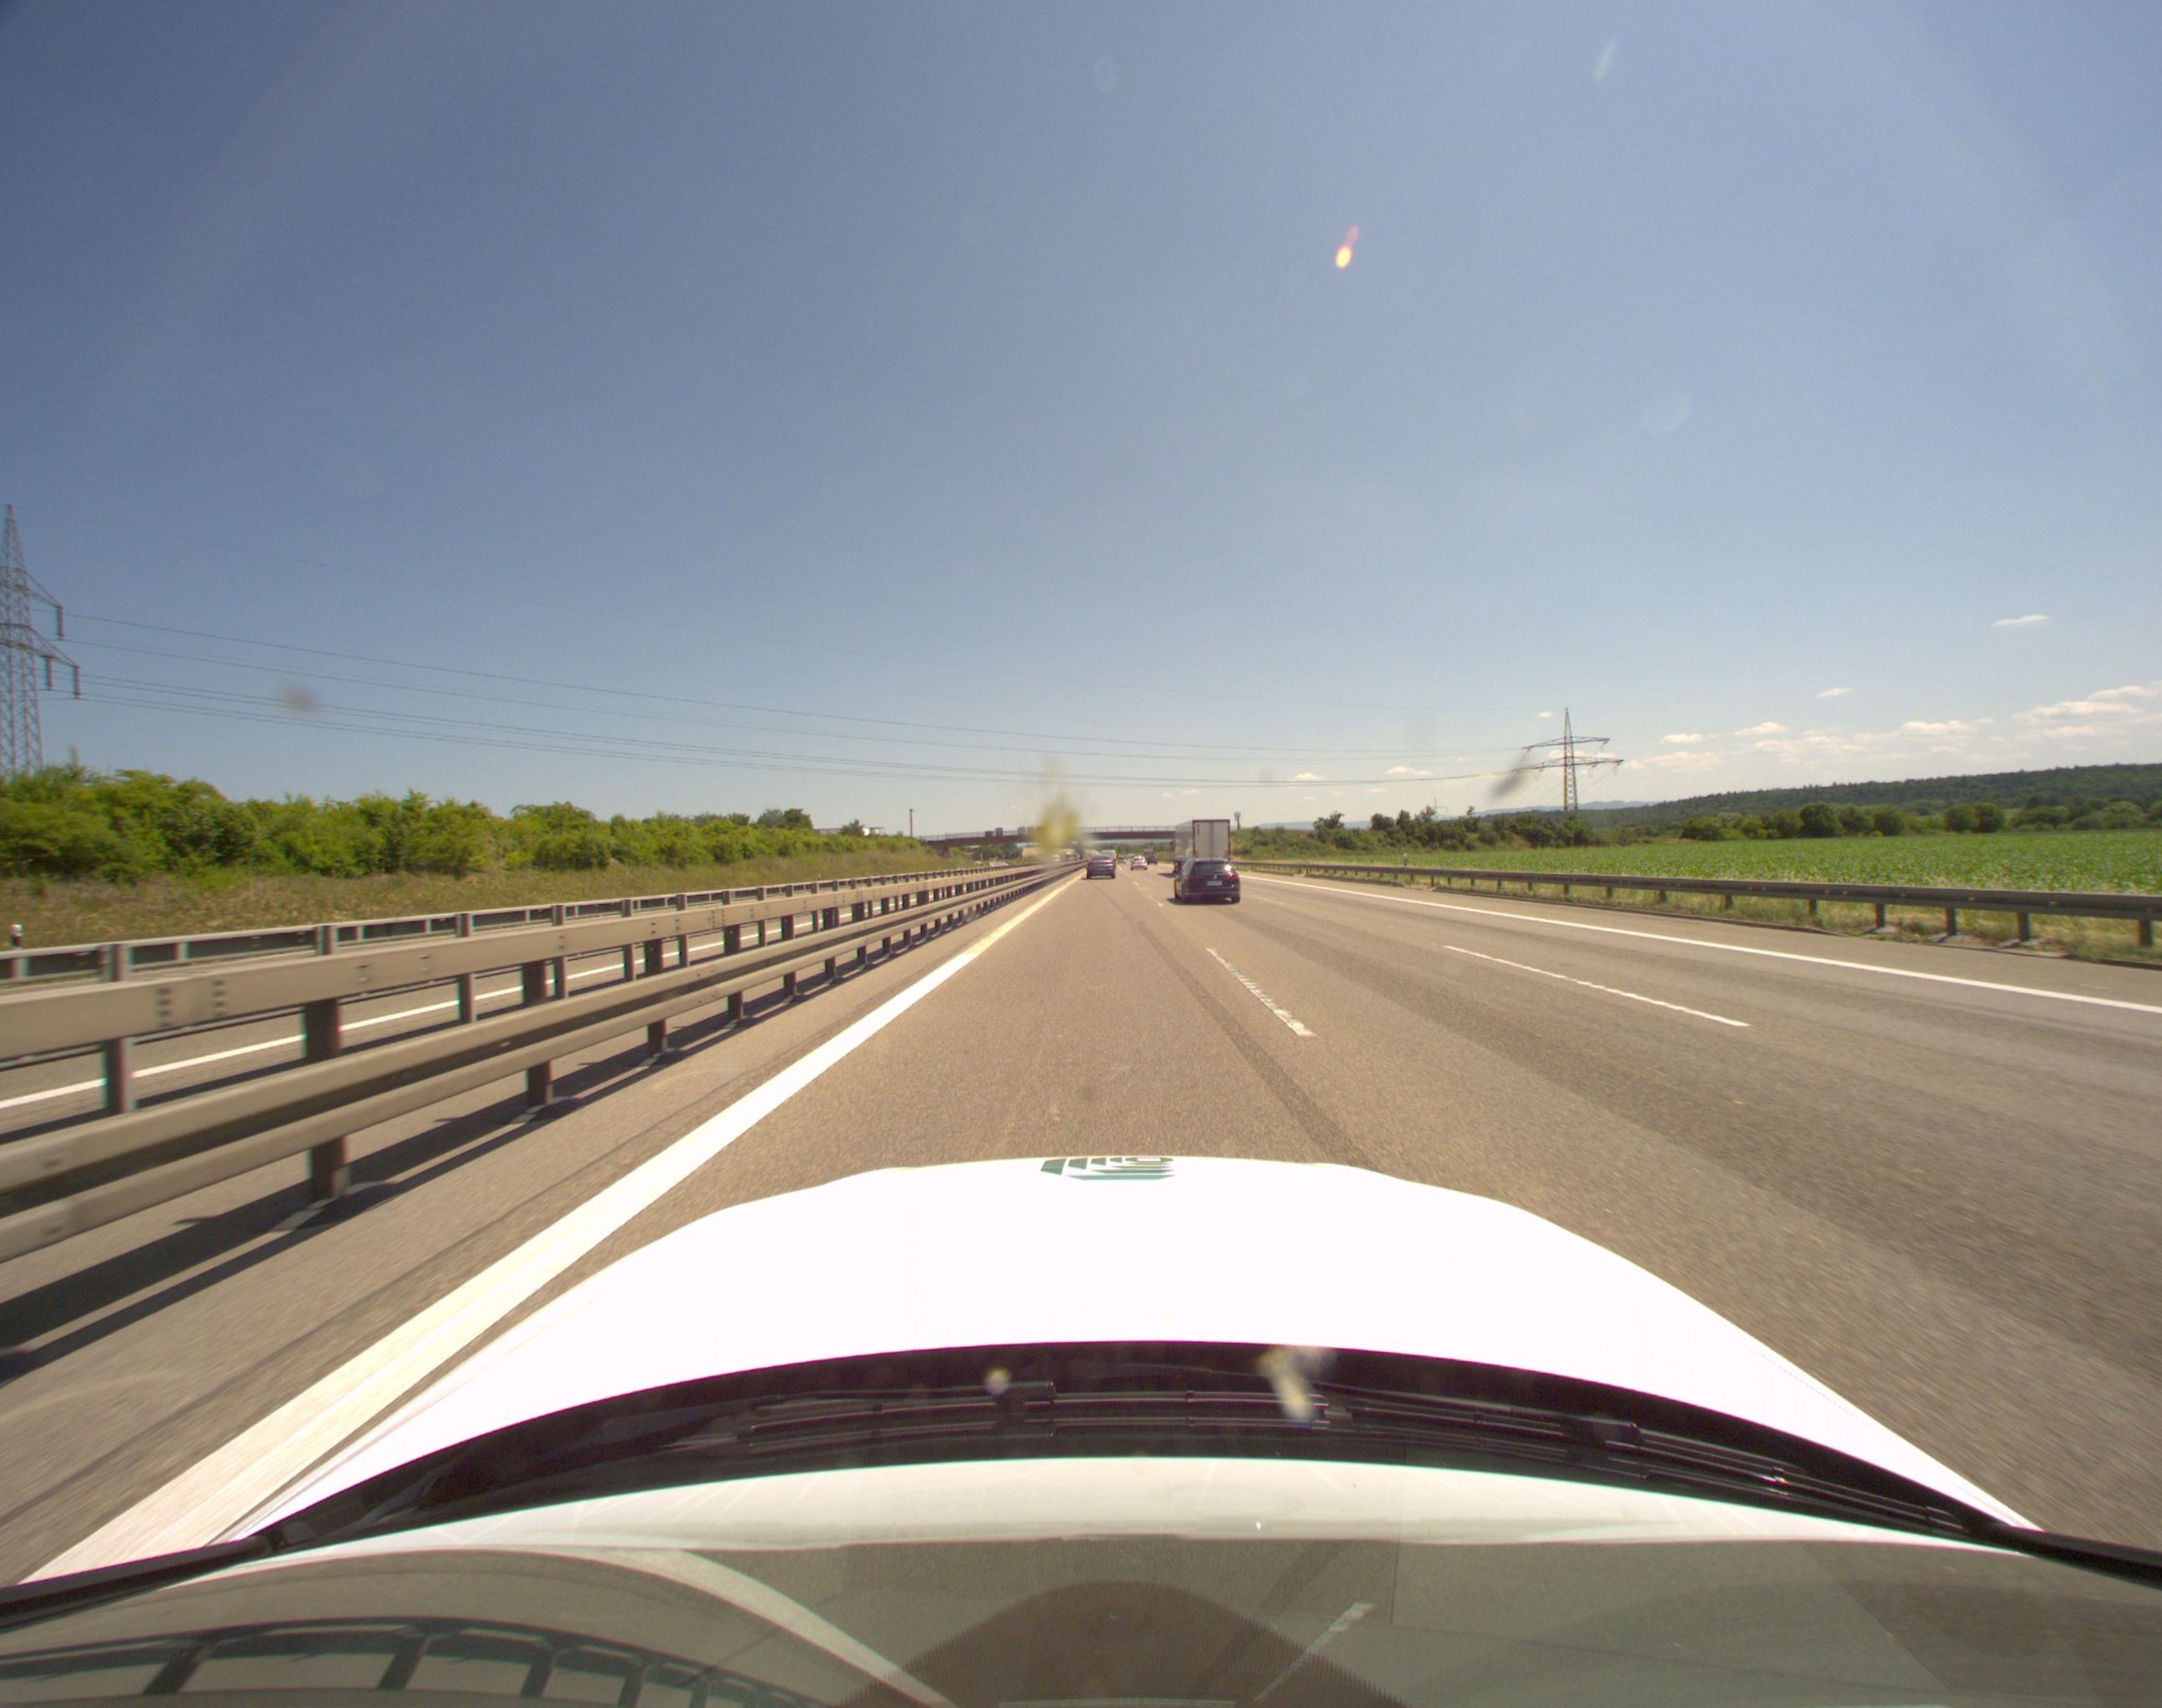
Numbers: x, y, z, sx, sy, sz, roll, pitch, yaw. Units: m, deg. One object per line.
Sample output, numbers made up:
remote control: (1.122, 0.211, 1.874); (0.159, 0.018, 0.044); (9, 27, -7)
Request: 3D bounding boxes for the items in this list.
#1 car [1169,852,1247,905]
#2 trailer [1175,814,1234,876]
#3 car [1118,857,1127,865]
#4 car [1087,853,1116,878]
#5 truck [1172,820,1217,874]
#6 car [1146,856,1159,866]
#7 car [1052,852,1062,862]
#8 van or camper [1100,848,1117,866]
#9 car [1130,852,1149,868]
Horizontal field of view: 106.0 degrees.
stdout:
car: (4.113, 0.745, 27.088); (1.926, 1.574, 4.936); (-1, 0, 1)
trailer: (9.207, -0.605, 62.419); (2.932, 4.198, 13.603); (-1, 0, 2)
car: (8.990, 1.525, 177.170); (1.986, 1.683, 4.002); (-1, 0, 2)
car: (1.387, 0.767, 56.377); (1.846, 1.664, 3.733); (-1, 0, -1)
truck: (9.440, -0.558, 68.708); (2.968, 4.228, 7.691); (-1, 0, 2)
car: (12.481, 1.281, 142.397); (1.986, 1.683, 4.002); (-1, 0, 2)
car: (-6.113, 0.751, 206.476); (2.024, 2.605, 7.603); (-1, 0, 2)
van or camper: (3.544, 0.366, 103.599); (2.102, 2.211, 5.268); (-1, 0, 2)
car: (6.432, 0.689, 90.361); (1.986, 1.683, 4.002); (-1, 0, 2)
